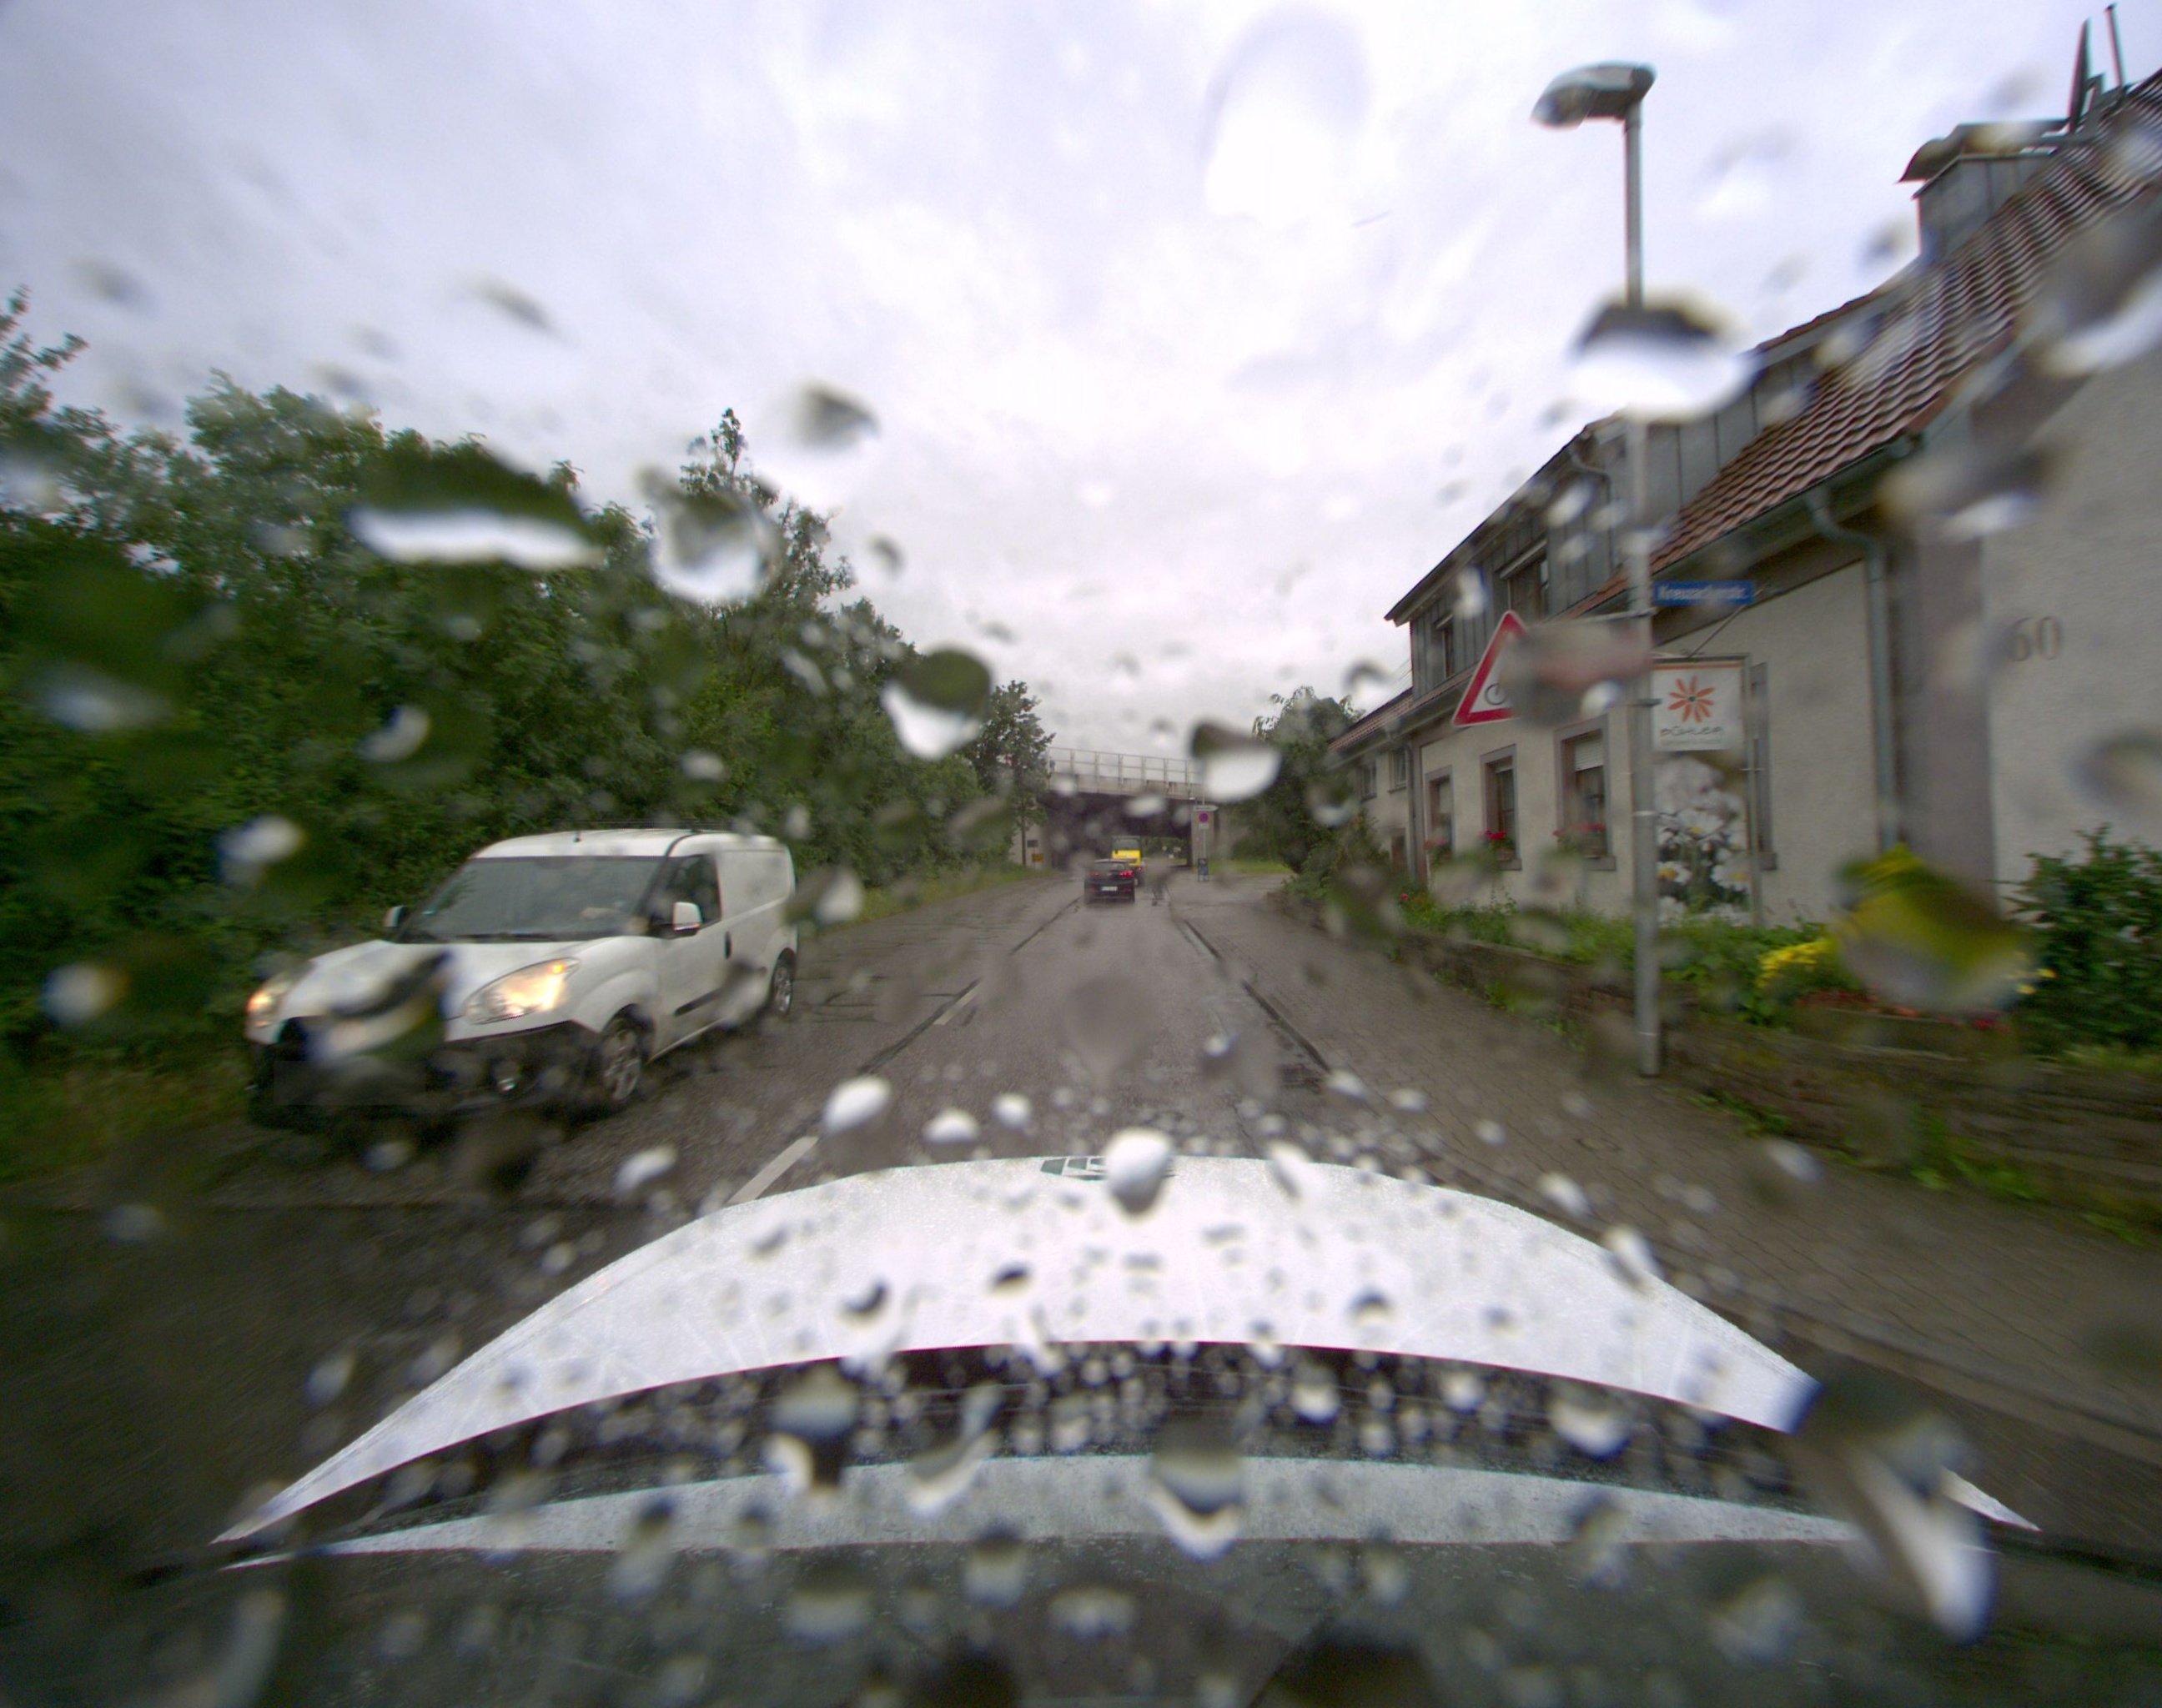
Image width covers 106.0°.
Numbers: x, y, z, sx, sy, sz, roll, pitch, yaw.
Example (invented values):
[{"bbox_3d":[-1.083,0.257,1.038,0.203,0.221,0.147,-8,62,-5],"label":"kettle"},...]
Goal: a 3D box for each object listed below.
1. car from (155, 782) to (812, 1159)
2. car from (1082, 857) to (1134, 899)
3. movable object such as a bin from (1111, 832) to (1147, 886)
[{"bbox_3d":[-3.633,0.579,6.155,1.818,1.832,4.305,0,0,-1],"label":"car"},{"bbox_3d":[0.986,0.795,28.812,1.701,1.377,4.003,0,-1,3],"label":"car"},{"bbox_3d":[2.401,0.264,41.066,1.754,2.548,4.242,0,-1,3],"label":"movable object such as a bin"}]
